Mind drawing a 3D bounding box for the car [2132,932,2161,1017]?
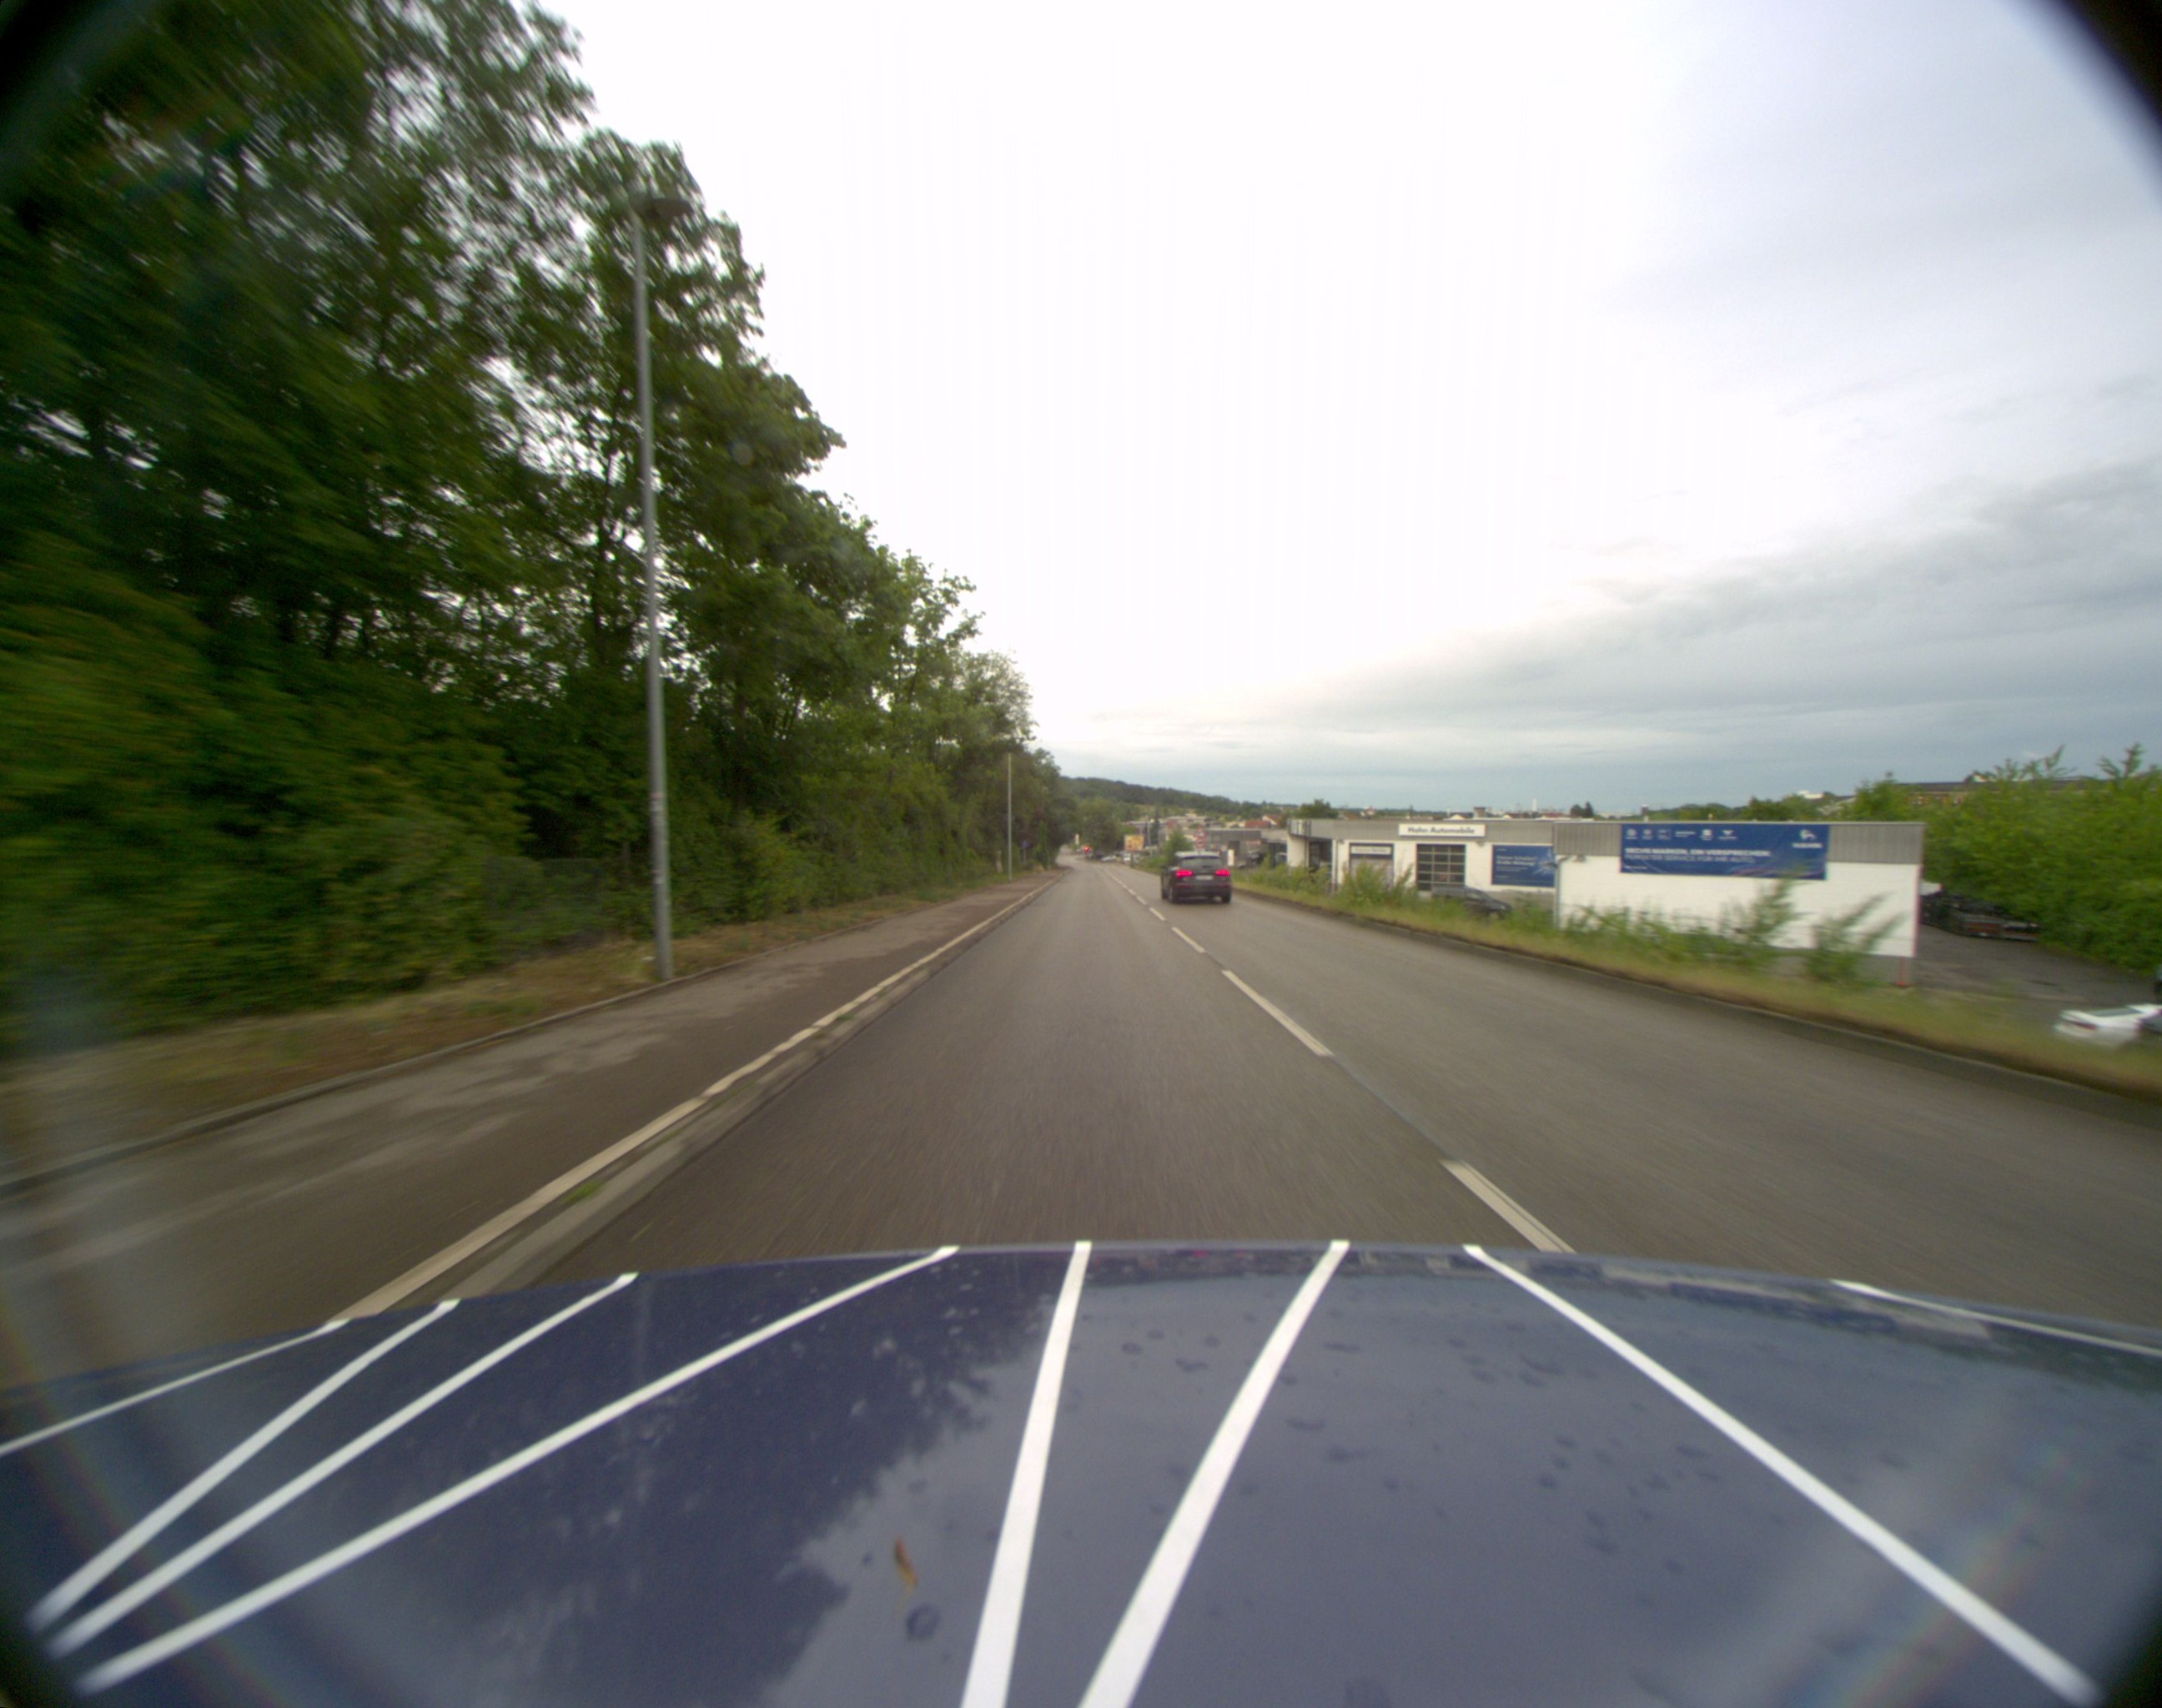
[{"bbox_3d":[32.361,3.696,20.678,1.979,2.447,6.610,5,1,33],"label":"car"}]

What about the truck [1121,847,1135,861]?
[{"bbox_3d":[9.526,-0.050,154.491,1.999,2.617,7.889,1,1,-3],"label":"truck"}]

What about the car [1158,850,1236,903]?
[{"bbox_3d":[3.696,0.667,24.959,1.874,1.576,4.414,-1,0,0],"label":"car"}]

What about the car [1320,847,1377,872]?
[{"bbox_3d":[24.243,0.470,68.958,4.471,1.949,1.992,3,3,36],"label":"car"}]

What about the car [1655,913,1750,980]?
[{"bbox_3d":[21.602,3.132,26.595,1.861,1.793,4.652,5,0,32],"label":"car"}]

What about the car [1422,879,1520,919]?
[{"bbox_3d":[22.474,2.552,43.904,4.625,1.793,1.872,5,1,38],"label":"car"}]

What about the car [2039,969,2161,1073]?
[{"bbox_3d":[23.288,3.636,16.288,1.861,1.683,4.652,5,0,32],"label":"car"}]
